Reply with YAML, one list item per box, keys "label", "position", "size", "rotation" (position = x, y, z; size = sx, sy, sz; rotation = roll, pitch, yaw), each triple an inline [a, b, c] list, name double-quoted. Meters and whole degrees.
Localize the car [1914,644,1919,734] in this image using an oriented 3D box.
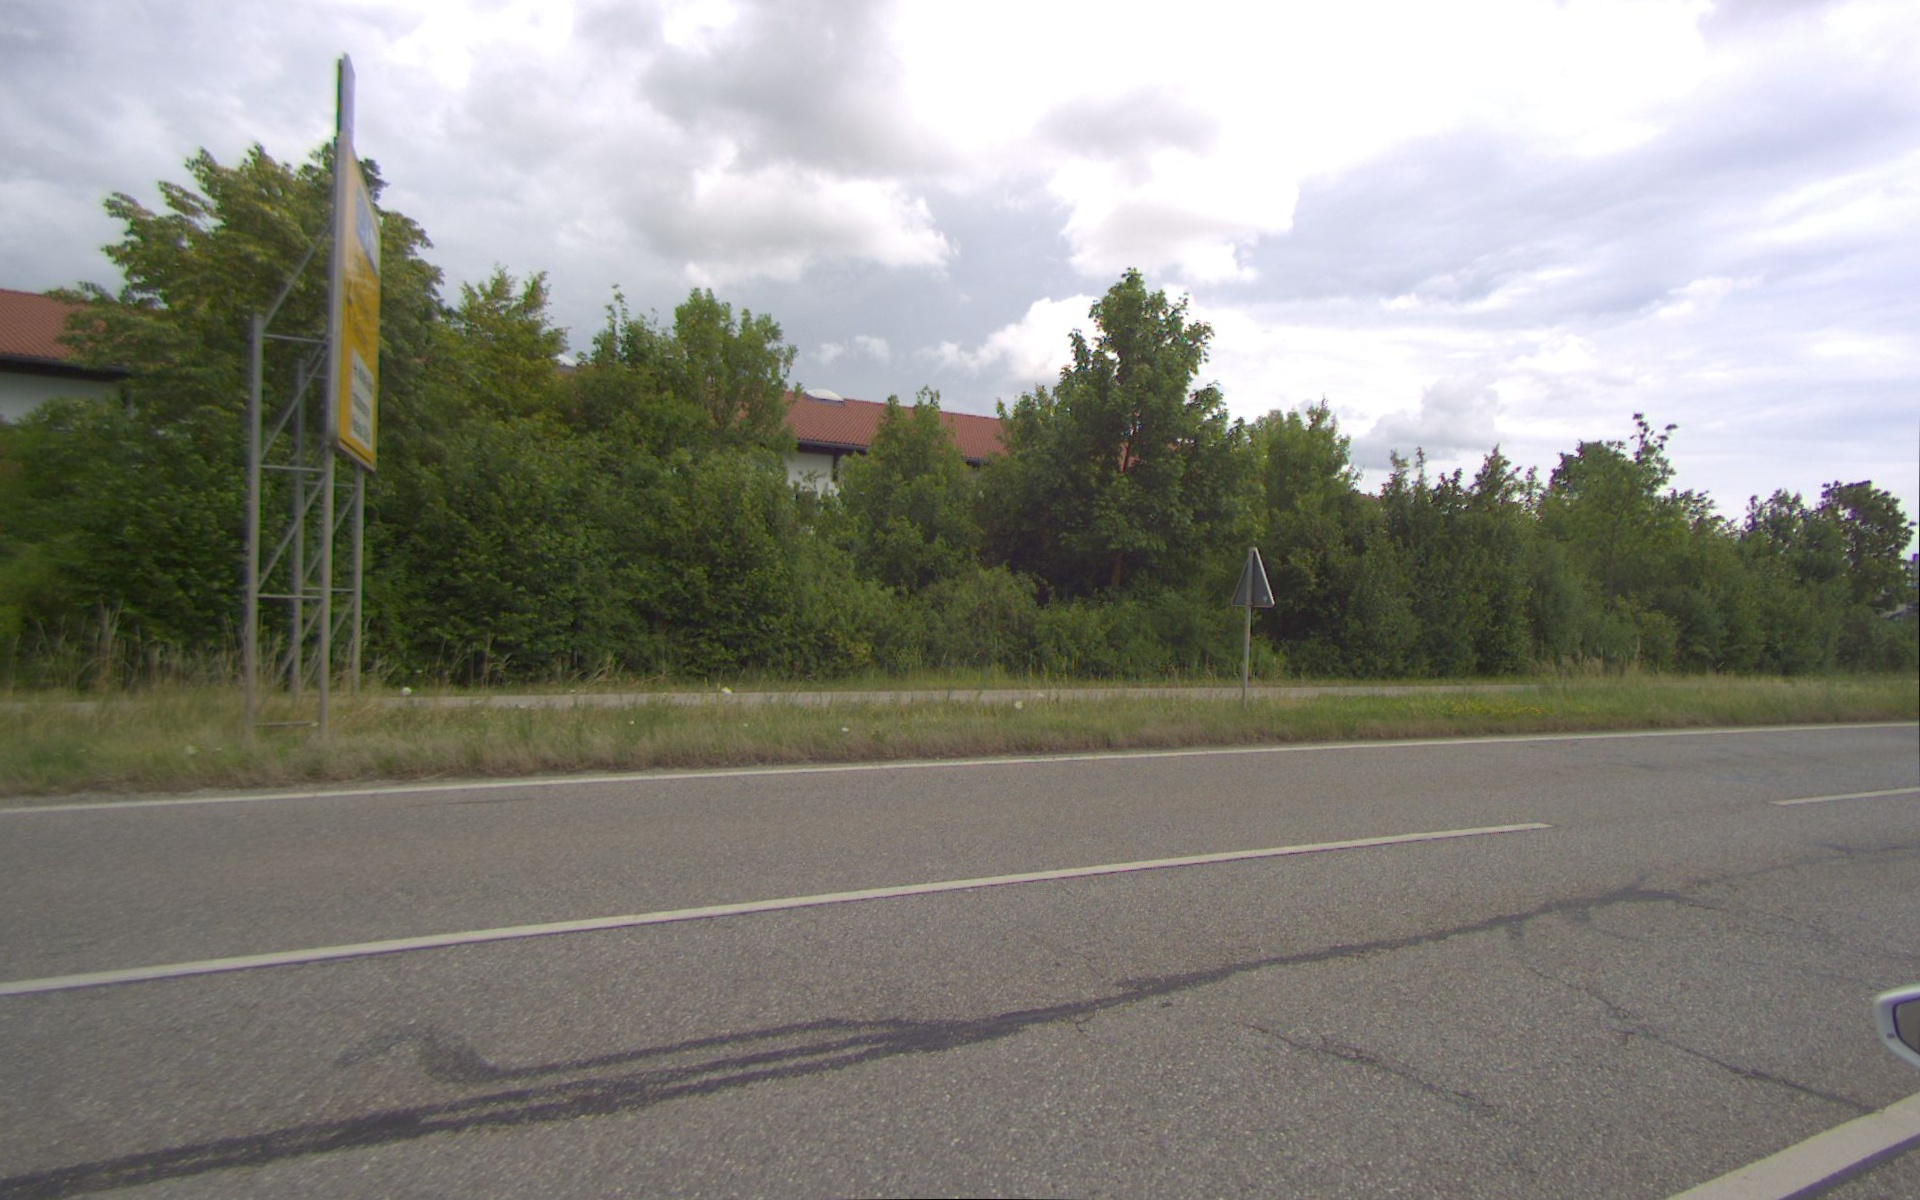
- label: "car"
  position: [15.733, 1.325, 14.304]
  size: [4.156, 1.257, 1.765]
  rotation: [2, 1, -26]
